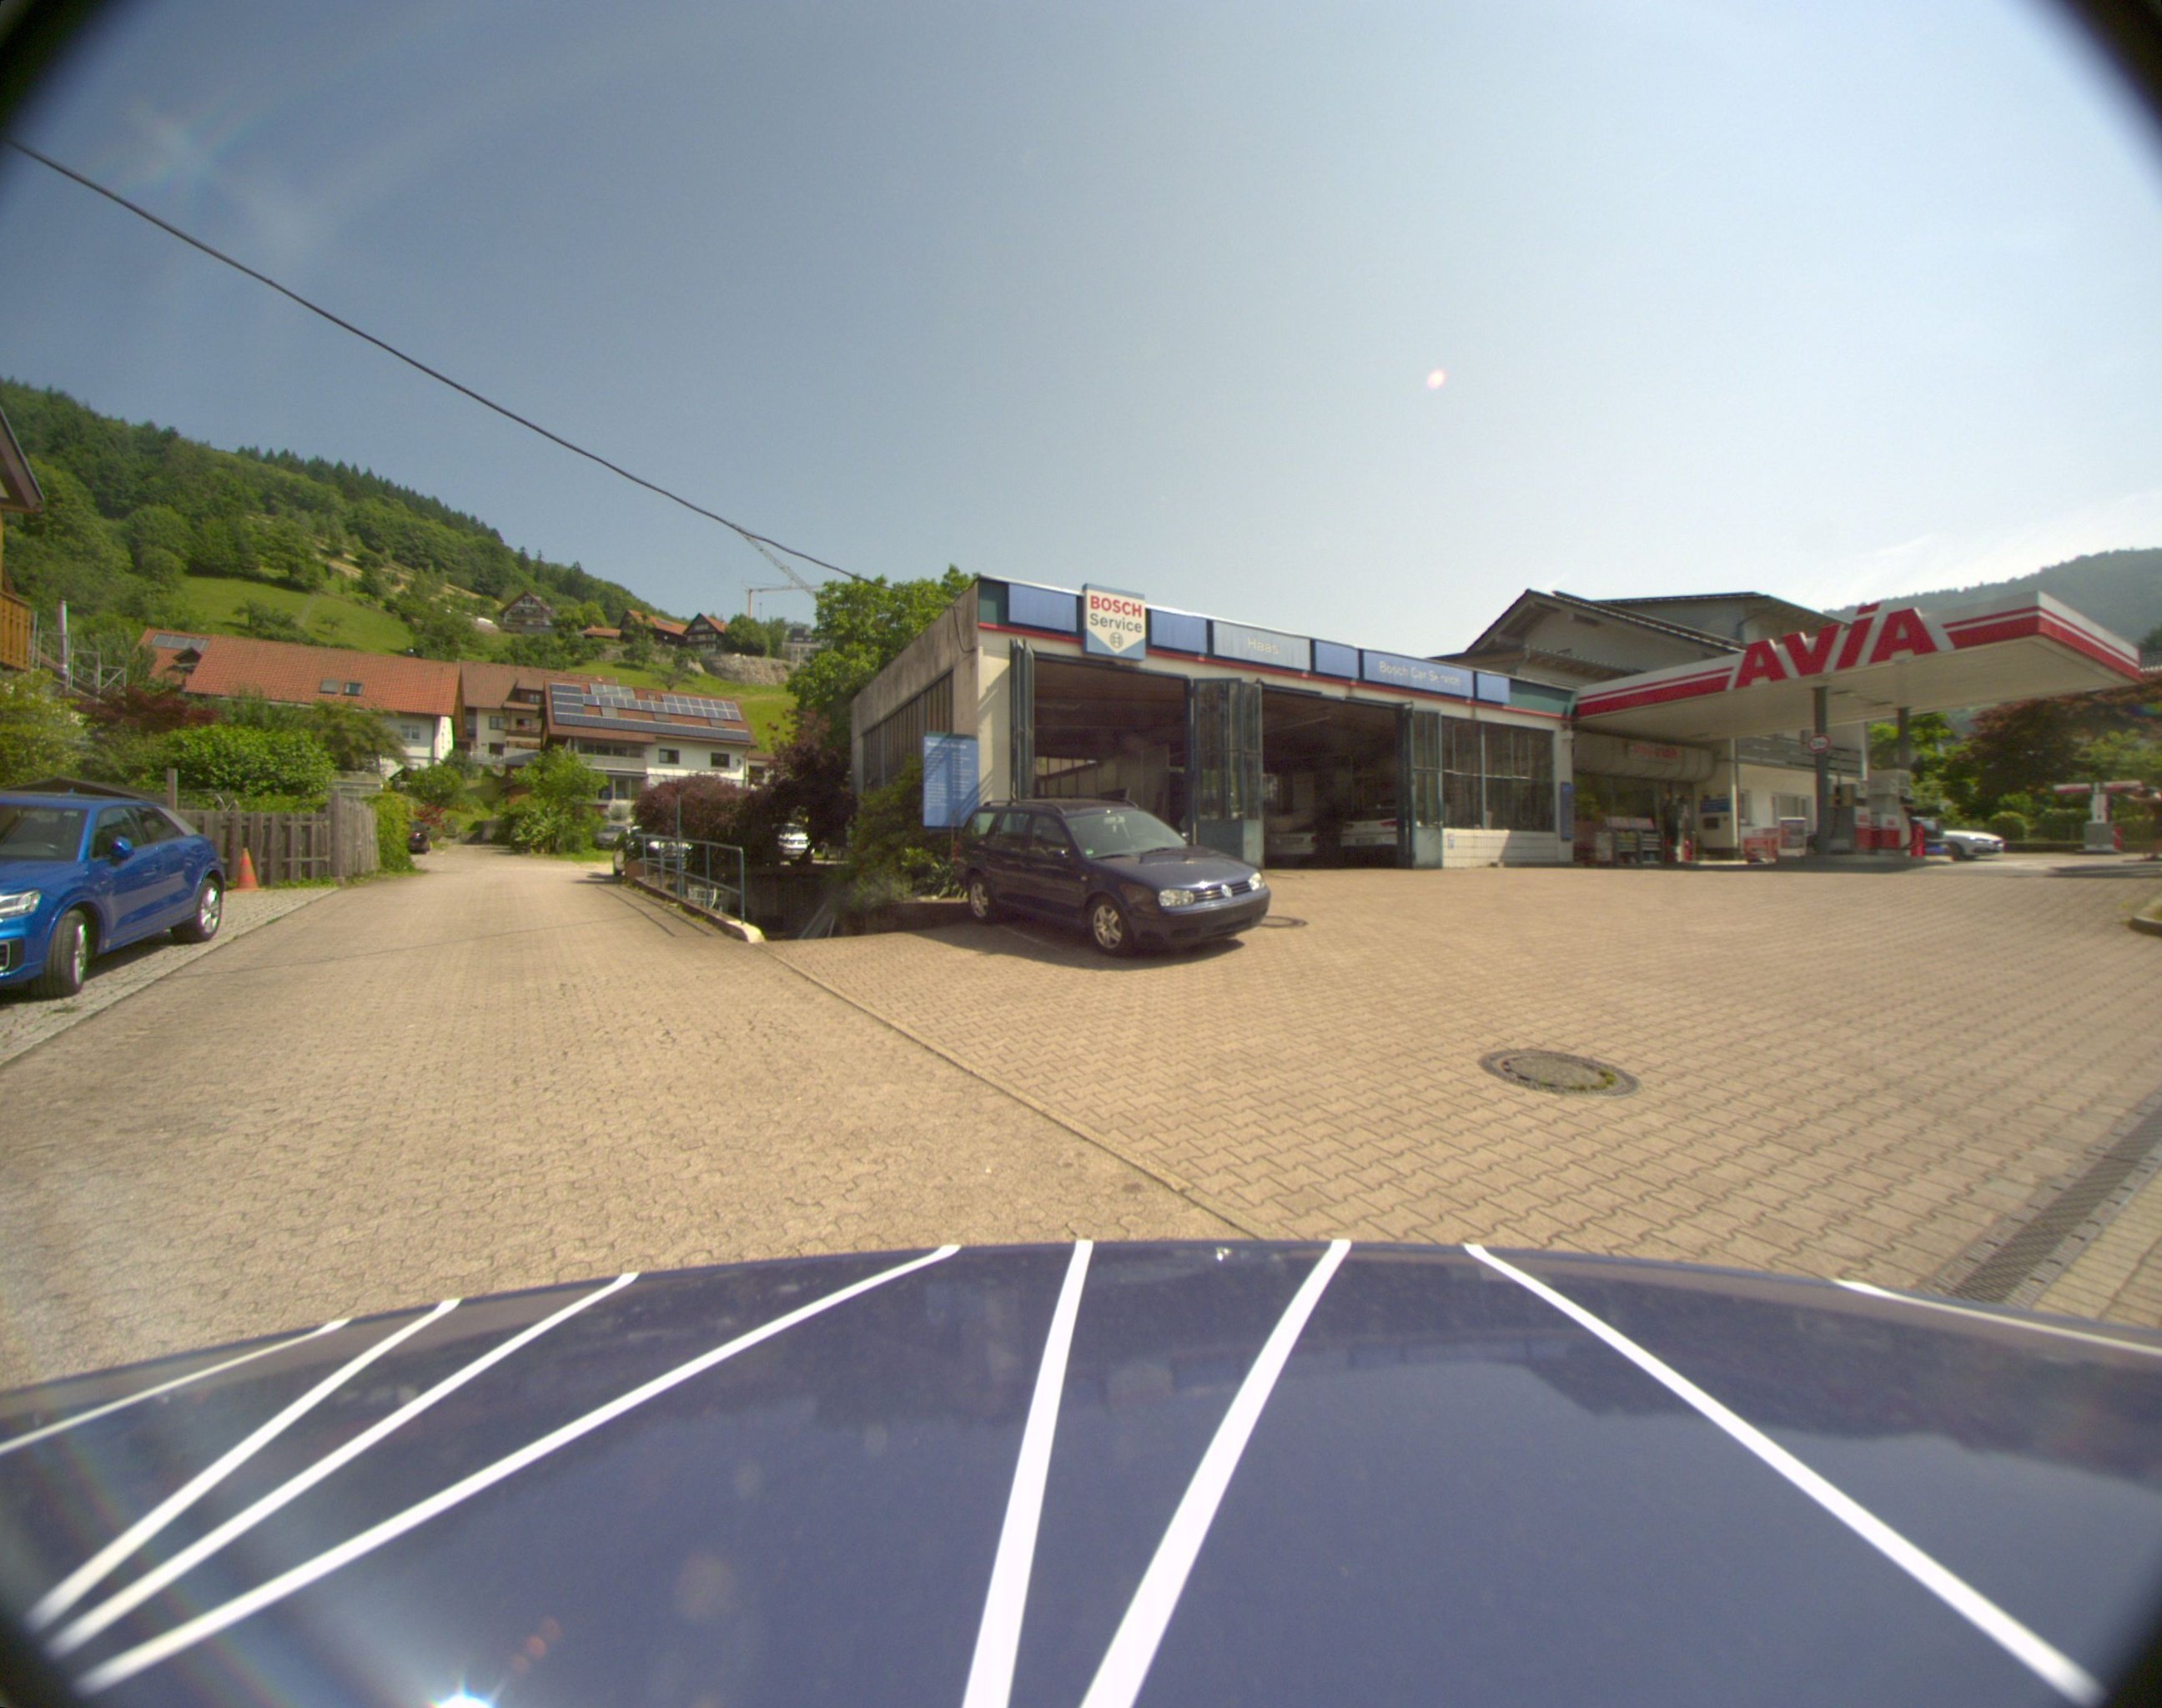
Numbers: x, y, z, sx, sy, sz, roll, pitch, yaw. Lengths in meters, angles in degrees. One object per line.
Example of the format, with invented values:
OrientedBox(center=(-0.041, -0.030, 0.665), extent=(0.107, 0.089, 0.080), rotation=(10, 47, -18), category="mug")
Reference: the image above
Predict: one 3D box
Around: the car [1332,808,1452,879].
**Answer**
OrientedBox(center=(8.432, -0.363, 20.443), extent=(1.601, 1.679, 3.937), rotation=(3, 5, 44), category="car")

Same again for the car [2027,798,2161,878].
OrientedBox(center=(22.578, -0.430, 16.529), extent=(3.916, 1.569, 1.693), rotation=(-2, 4, -27), category="car")

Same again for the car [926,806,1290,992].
OrientedBox(center=(0.036, 0.256, 8.639), extent=(1.802, 1.537, 4.318), rotation=(-4, 5, -37), category="car")

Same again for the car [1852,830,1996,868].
OrientedBox(center=(28.920, -0.198, 26.153), extent=(1.337, 1.138, 3.074), rotation=(-3, 4, -29), category="car")

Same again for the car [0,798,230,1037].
OrientedBox(center=(-9.092, 0.367, 6.267), extent=(1.738, 1.616, 3.923), rotation=(-2, 3, -33), category="car")

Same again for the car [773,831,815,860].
OrientedBox(center=(-13.910, -0.449, 36.718), extent=(1.470, 1.252, 3.379), rotation=(0, 3, -28), category="car")

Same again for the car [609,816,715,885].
OrientedBox(center=(-11.625, -0.204, 20.893), extent=(2.003, 1.636, 4.862), rotation=(-3, 4, -35), category="car")

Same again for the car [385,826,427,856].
OrientedBox(center=(-27.255, -0.554, 30.731), extent=(1.115, 1.058, 2.855), rotation=(2, 2, -39), category="car")

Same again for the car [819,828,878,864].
OrientedBox(center=(-11.552, -0.444, 37.596), extent=(1.682, 1.547, 3.899), rotation=(-3, 4, -34), category="car")

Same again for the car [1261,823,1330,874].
OrientedBox(center=(6.449, -0.117, 22.614), extent=(1.545, 1.398, 3.485), rotation=(0, -1, 23), category="car")

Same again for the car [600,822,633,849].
OrientedBox(center=(-25.351, -1.042, 41.457), extent=(1.347, 1.363, 3.204), rotation=(-3, 4, -33), category="car")
